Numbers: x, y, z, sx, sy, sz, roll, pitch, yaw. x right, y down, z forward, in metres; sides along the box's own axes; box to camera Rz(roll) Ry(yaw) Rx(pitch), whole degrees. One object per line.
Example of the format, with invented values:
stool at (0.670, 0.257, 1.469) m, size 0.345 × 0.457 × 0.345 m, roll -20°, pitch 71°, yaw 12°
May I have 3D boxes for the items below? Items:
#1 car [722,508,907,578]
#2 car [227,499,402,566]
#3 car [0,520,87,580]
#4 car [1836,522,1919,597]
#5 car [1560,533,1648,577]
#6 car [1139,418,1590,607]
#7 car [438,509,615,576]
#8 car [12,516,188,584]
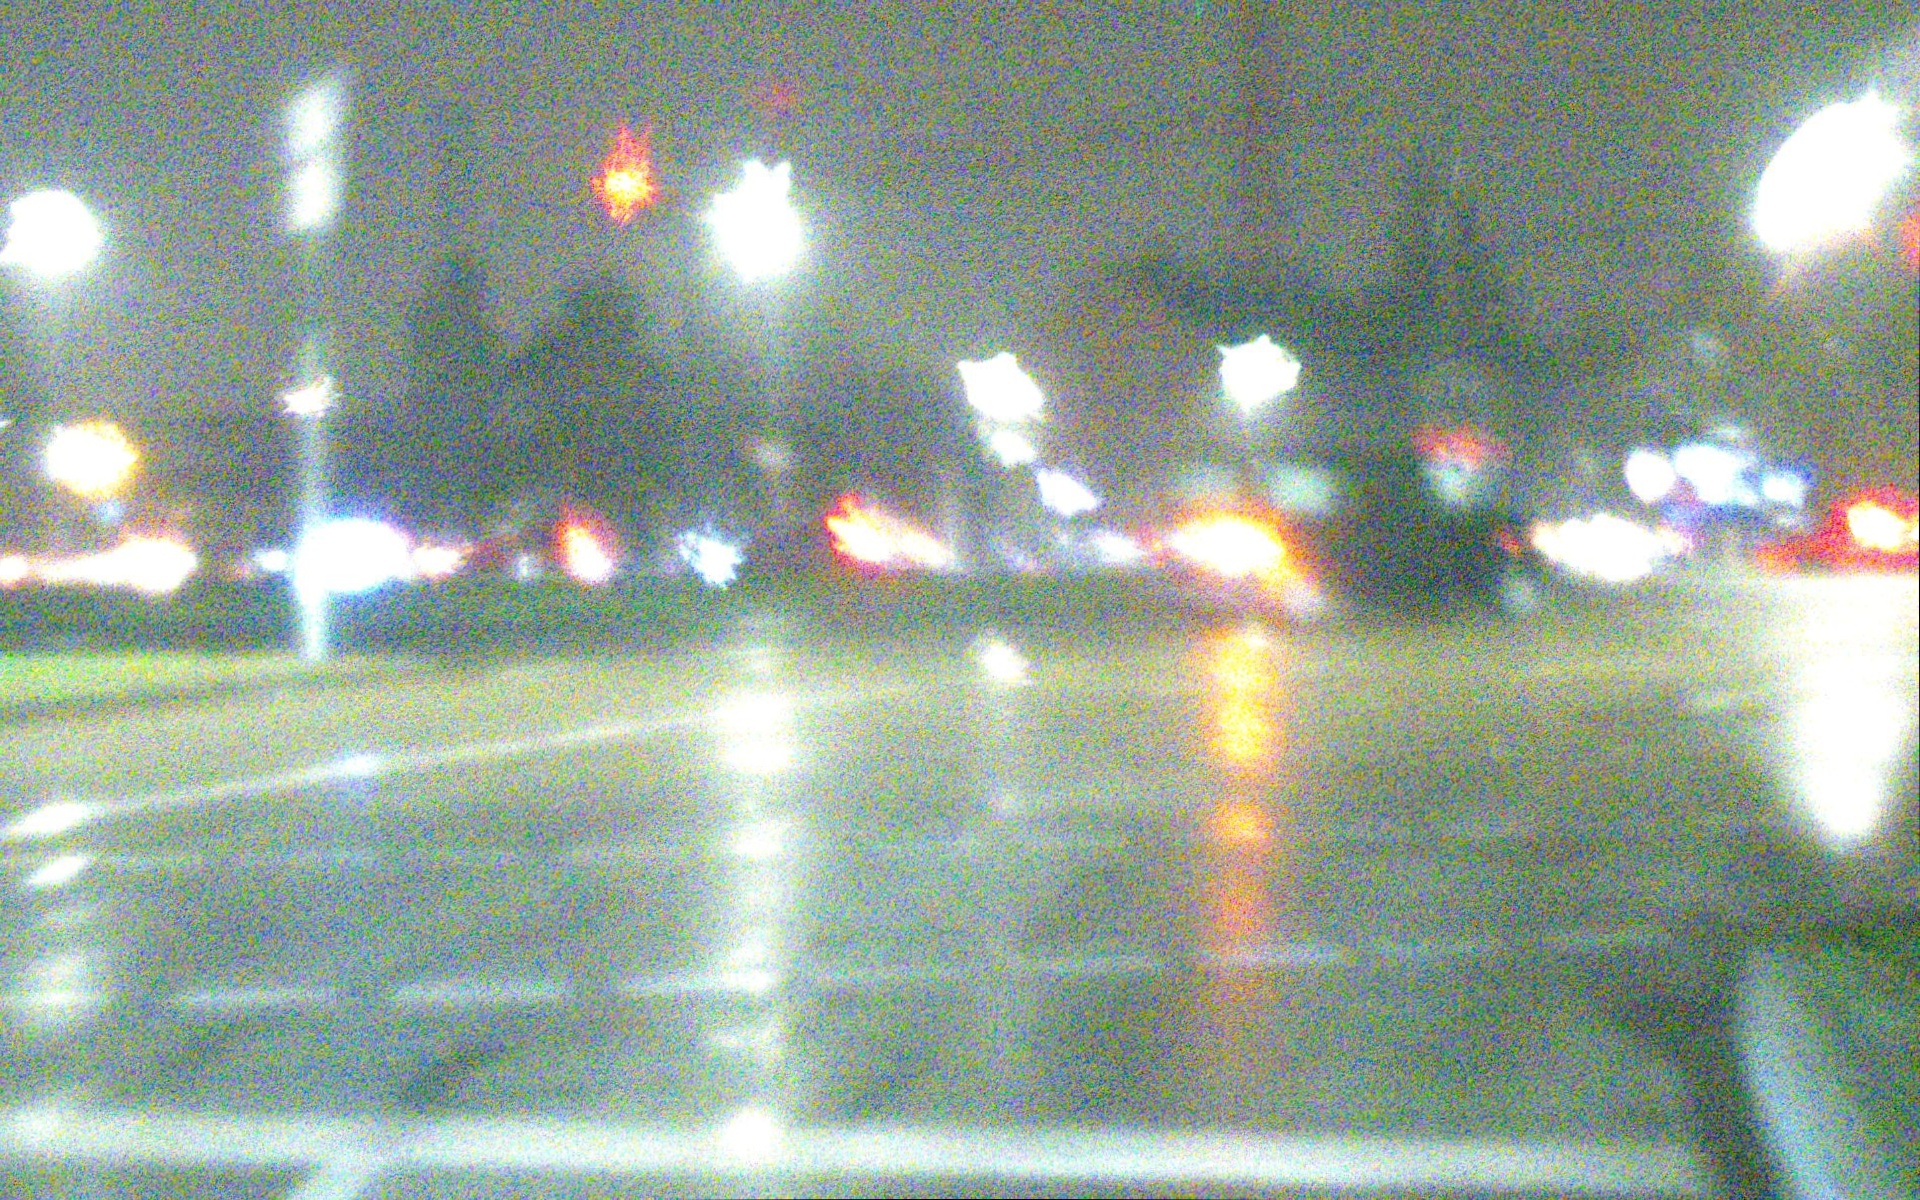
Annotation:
car at (-3.462, -1.360, 81.633) m, size 3.992 × 1.610 × 1.834 m, roll 1°, pitch 1°, yaw 25°
car at (-15.611, -1.637, 83.275) m, size 3.951 × 1.573 × 1.737 m, roll 0°, pitch 1°, yaw -3°
car at (-24.172, -1.277, 86.809) m, size 3.986 × 1.481 × 1.770 m, roll 0°, pitch 1°, yaw -10°
car at (19.373, -0.857, 70.857) m, size 1.716 × 1.491 × 3.912 m, roll 1°, pitch 1°, yaw 1°
car at (26.603, -1.860, 141.935) m, size 1.876 × 1.752 × 4.385 m, roll 1°, pitch 2°, yaw 36°
car at (4.480, -0.950, 38.184) m, size 4.541 × 2.007 × 2.001 m, roll 0°, pitch 1°, yaw -21°
car at (-10.481, -1.396, 83.259) m, size 3.952 × 1.573 × 1.877 m, roll 1°, pitch 1°, yaw 3°
car at (-20.843, -1.213, 83.410) m, size 3.986 × 1.610 × 1.837 m, roll 0°, pitch 1°, yaw -8°
